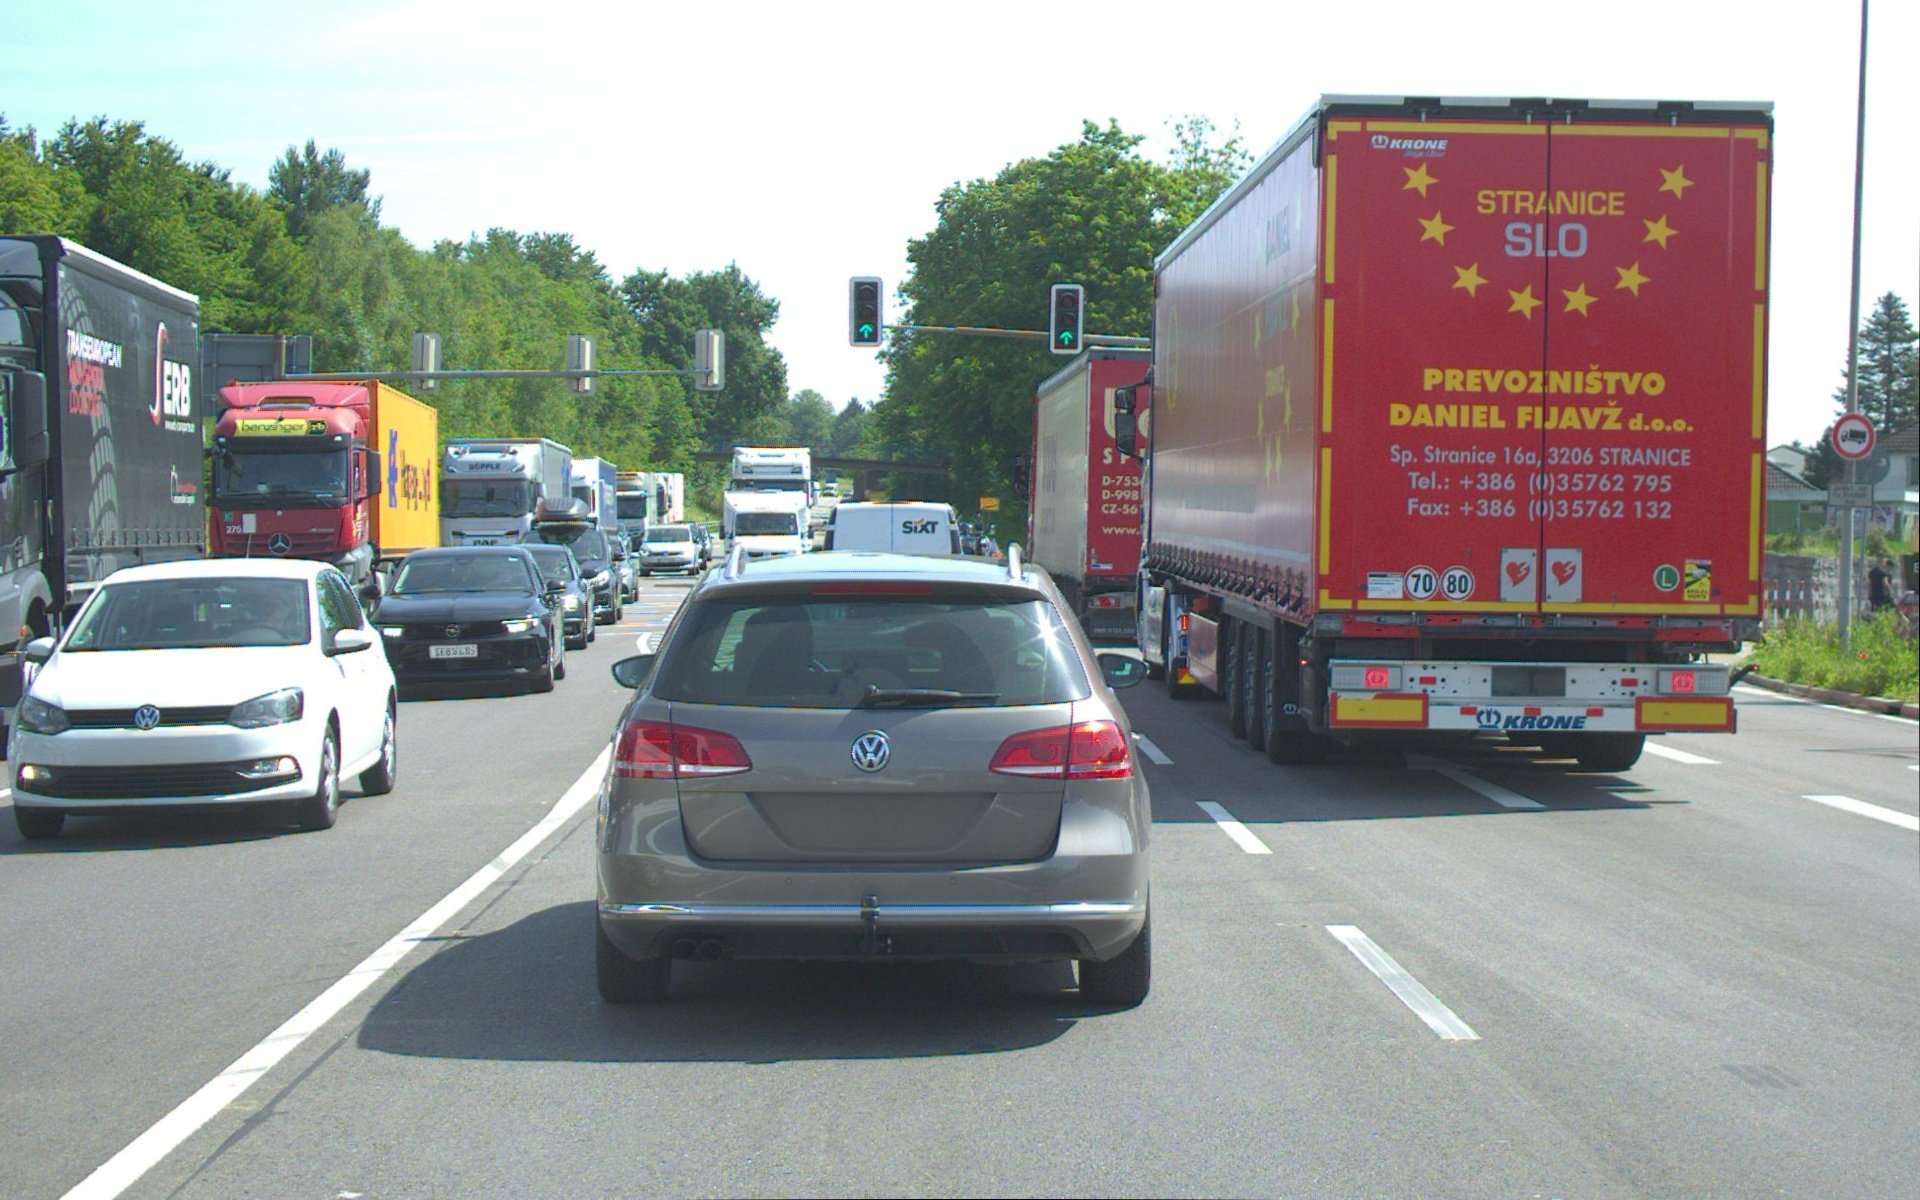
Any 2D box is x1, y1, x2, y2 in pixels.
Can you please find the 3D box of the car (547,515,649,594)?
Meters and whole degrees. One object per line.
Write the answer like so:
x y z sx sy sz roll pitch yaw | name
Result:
-7.824 -1.013 74.631 1.921 1.596 4.589 -1 2 -3 | car

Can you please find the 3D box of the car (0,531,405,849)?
-4.227 0.413 19.341 1.653 1.550 4.001 -2 1 -2 | car

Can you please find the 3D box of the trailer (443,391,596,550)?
-12.251 -3.535 96.762 2.691 4.133 13.881 0 1 -1 | trailer

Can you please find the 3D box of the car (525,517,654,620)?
-6.241 -0.573 58.339 1.908 1.596 4.589 -2 2 -3 | car

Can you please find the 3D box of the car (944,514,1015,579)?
0.579 -1.696 107.946 1.993 2.007 4.001 0 1 -3 | car

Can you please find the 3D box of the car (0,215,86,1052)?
-3.780 0.152 7.918 2.058 2.501 7.115 0 1 -3 | car

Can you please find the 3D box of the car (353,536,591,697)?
-4.802 0.117 34.345 1.711 1.438 4.379 -2 1 0 | car

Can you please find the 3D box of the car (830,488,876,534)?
-4.818 -3.986 154.116 1.993 2.007 4.001 0 1 -3 | car

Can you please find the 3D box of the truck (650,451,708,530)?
-14.934 -5.792 183.152 2.829 4.102 9.684 0 1 -3 | truck

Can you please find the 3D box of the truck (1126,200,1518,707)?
3.252 -1.316 32.469 2.870 4.266 5.839 2 1 -1 | truck

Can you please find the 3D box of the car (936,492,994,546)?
0.183 -3.073 130.785 1.993 2.007 4.001 0 1 -3 | car

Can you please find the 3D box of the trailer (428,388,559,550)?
-12.193 -3.393 90.298 2.645 4.091 6.181 0 1 -1 | trailer

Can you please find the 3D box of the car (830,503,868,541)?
-6.019 -4.216 186.336 1.993 2.007 4.001 0 1 -3 | car

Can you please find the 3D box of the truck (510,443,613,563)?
-13.876 -3.381 120.162 3.187 4.065 6.347 0 1 -3 | truck

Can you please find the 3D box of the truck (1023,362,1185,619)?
2.366 -1.822 57.957 2.406 4.113 5.522 0 1 -1 | truck

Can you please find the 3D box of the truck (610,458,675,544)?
-15.229 -4.731 165.472 2.728 3.985 9.621 0 1 -3 | truck

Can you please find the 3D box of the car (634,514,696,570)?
-9.676 -1.923 112.834 1.843 1.726 4.589 2 2 -3 | car

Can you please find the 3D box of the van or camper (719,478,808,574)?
-5.477 -2.074 96.547 2.330 2.591 6.980 0 1 -2 | van or camper

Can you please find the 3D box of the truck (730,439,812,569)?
-6.105 -3.061 110.319 2.536 4.073 6.267 0 1 -4 | truck

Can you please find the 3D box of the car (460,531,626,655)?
-5.610 -0.141 46.693 1.861 1.518 4.589 -1 2 -2 | car

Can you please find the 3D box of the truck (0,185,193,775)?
-8.009 -0.867 26.035 2.710 3.984 9.978 0 1 -3 | truck

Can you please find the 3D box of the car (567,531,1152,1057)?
-0.399 0.519 11.961 1.691 1.508 4.001 0 1 -3 | car

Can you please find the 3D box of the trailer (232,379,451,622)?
-11.061 -1.772 62.598 2.720 3.984 12.237 0 1 -5 | trailer

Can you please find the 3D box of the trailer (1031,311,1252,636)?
2.502 -1.786 51.369 2.395 4.228 13.079 0 1 -1 | trailer

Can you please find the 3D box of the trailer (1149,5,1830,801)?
3.310 -1.230 25.759 2.839 4.350 13.168 2 1 0 | trailer

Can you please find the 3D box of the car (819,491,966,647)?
-0.921 -0.428 44.819 1.770 1.930 3.978 0 1 -3 | car

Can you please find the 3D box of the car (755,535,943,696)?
-1.160 0.106 34.500 1.770 1.508 4.001 0 1 -3 | car

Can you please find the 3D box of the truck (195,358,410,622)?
-10.425 -1.727 55.013 2.720 3.984 6.058 0 1 -5 | truck

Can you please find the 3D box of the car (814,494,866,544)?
-4.859 -3.262 138.686 1.993 2.007 4.001 0 1 -3 | car
